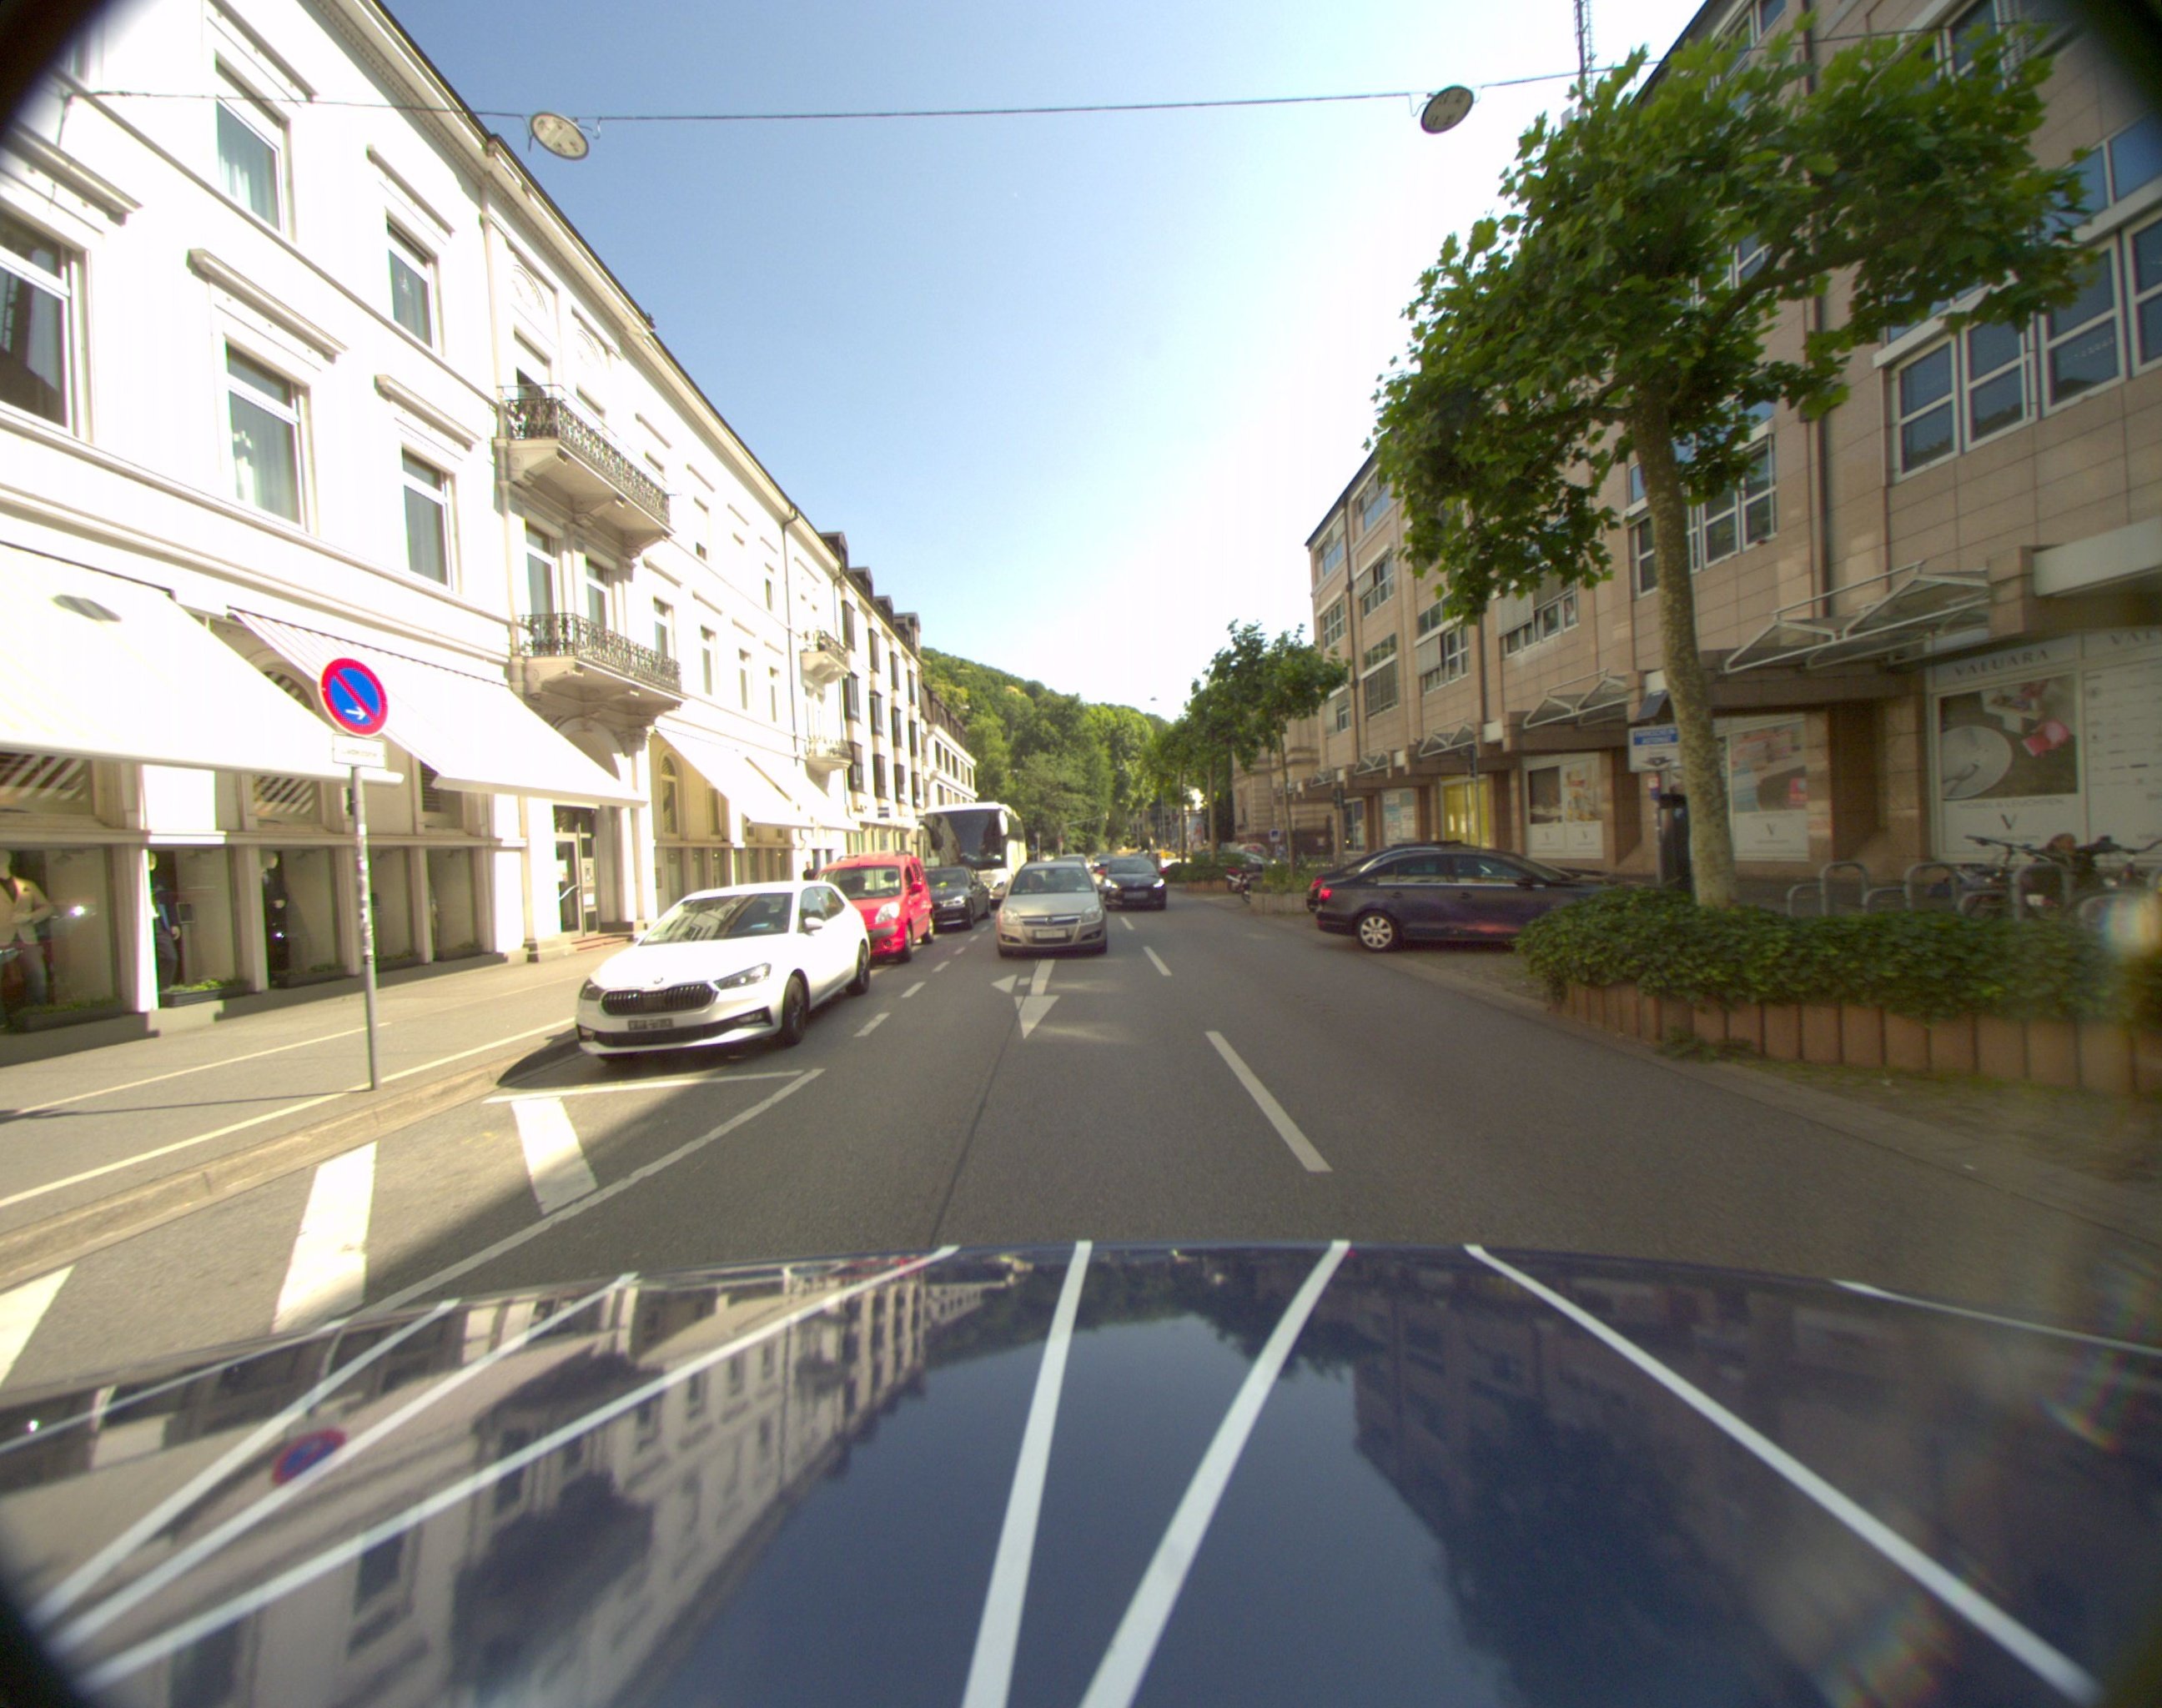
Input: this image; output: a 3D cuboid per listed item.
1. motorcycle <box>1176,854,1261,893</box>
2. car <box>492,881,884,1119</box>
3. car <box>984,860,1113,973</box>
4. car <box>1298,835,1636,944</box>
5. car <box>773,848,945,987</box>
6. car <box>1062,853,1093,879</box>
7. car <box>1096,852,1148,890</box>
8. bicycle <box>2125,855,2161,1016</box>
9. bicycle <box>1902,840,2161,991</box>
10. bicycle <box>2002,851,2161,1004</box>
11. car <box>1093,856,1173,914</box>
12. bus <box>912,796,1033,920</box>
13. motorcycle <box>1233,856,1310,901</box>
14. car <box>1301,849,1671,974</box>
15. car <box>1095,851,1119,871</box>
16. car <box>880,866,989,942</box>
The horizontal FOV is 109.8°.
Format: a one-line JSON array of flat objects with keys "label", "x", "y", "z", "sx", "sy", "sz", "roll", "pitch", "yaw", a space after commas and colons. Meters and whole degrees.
[{"label": "motorcycle", "x": 5.060, "y": 0.734, "z": 28.231, "sx": 0.980, "sy": 1.342, "sz": 3.095, "roll": -3, "pitch": 1, "yaw": -43}, {"label": "car", "x": -3.464, "y": 1.159, "z": 7.780, "sx": 1.799, "sy": 1.515, "sz": 4.264, "roll": -5, "pitch": -1, "yaw": -2}, {"label": "car", "x": -0.543, "y": 0.925, "z": 13.186, "sx": 1.791, "sy": 1.484, "sz": 4.367, "roll": -3, "pitch": 0, "yaw": -2}, {"label": "car", "x": 6.773, "y": 0.597, "z": 13.727, "sx": 5.120, "sy": 1.623, "sz": 1.847, "roll": -2, "pitch": 0, "yaw": 39}, {"label": "car", "x": -3.673, "y": 0.945, "z": 13.489, "sx": 1.703, "sy": 1.901, "sz": 4.606, "roll": -5, "pitch": 0, "yaw": -2}, {"label": "car", "x": -0.194, "y": 0.738, "z": 47.104, "sx": 1.775, "sy": 1.469, "sz": 4.107, "roll": -1, "pitch": -1, "yaw": 0}, {"label": "car", "x": 1.768, "y": 0.714, "z": 33.887, "sx": 1.734, "sy": 1.389, "sz": 4.104, "roll": -5, "pitch": 1, "yaw": -4}, {"label": "bicycle", "x": 8.402, "y": 0.524, "z": 5.133, "sx": 2.001, "sy": 1.096, "sz": 0.476, "roll": -2, "pitch": 1, "yaw": 0}, {"label": "bicycle", "x": 8.486, "y": 0.519, "z": 6.637, "sx": 2.001, "sy": 1.096, "sz": 0.476, "roll": -5, "pitch": 1, "yaw": 1}, {"label": "bicycle", "x": 8.501, "y": 0.538, "z": 5.925, "sx": 2.001, "sy": 1.096, "sz": 0.476, "roll": -2, "pitch": 1, "yaw": 1}, {"label": "car", "x": 1.389, "y": 0.850, "z": 22.009, "sx": 1.868, "sy": 1.469, "sz": 4.106, "roll": -1, "pitch": -1, "yaw": -2}, {"label": "bus", "x": -3.687, "y": 0.038, "z": 29.384, "sx": 2.924, "sy": 3.516, "sz": 12.496, "roll": -6, "pitch": 1, "yaw": -2}, {"label": "motorcycle", "x": 5.867, "y": 0.761, "z": 23.456, "sx": 2.056, "sy": 1.281, "sz": 0.980, "roll": -2, "pitch": 1, "yaw": 38}, {"label": "car", "x": 5.695, "y": 0.739, "z": 10.985, "sx": 4.392, "sy": 1.438, "sz": 1.890, "roll": -3, "pitch": -1, "yaw": 40}, {"label": "car", "x": 1.992, "y": 0.540, "z": 59.936, "sx": 1.734, "sy": 1.389, "sz": 4.106, "roll": -3, "pitch": 0, "yaw": 0}, {"label": "car", "x": -3.395, "y": 1.107, "z": 18.501, "sx": 1.868, "sy": 1.479, "sz": 4.414, "roll": -3, "pitch": 0, "yaw": -2}]
